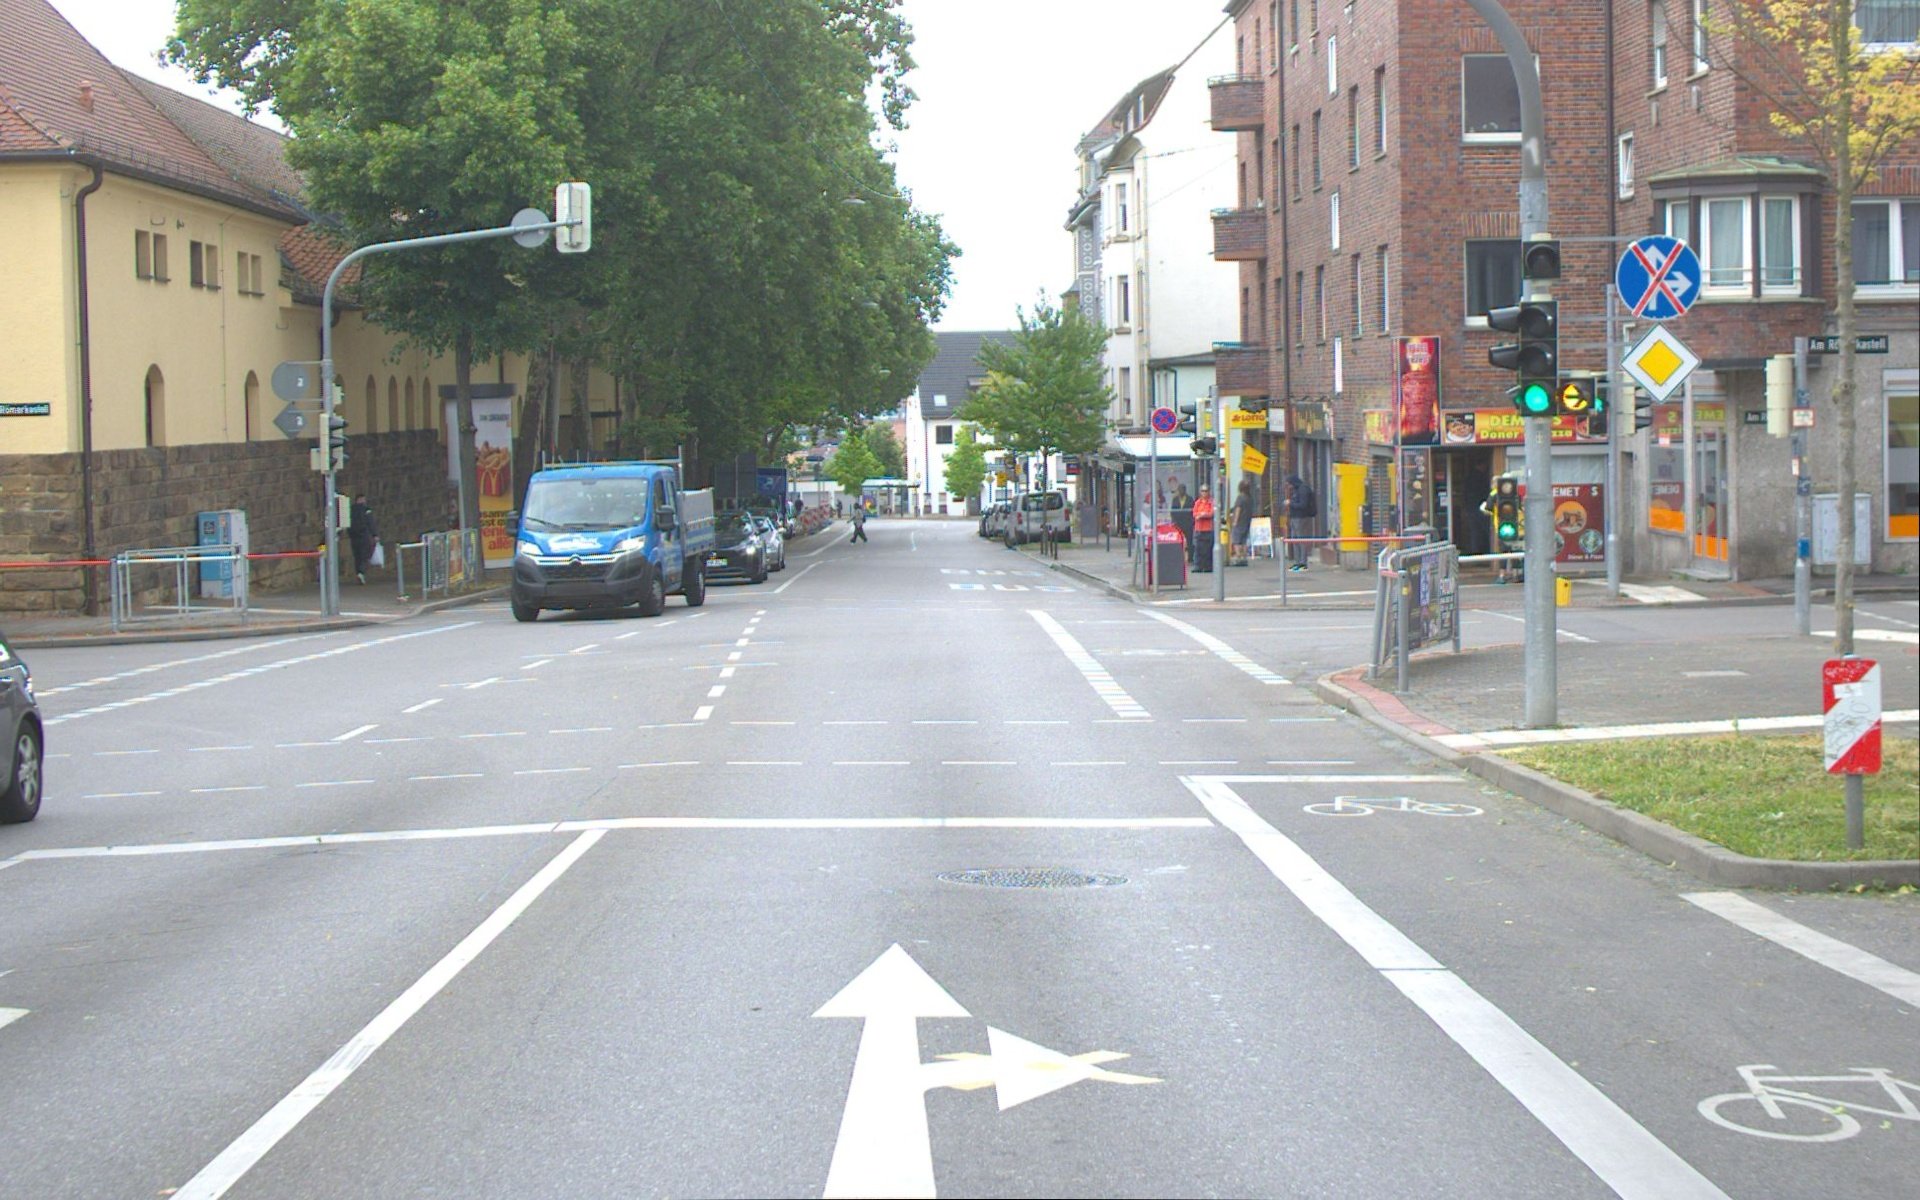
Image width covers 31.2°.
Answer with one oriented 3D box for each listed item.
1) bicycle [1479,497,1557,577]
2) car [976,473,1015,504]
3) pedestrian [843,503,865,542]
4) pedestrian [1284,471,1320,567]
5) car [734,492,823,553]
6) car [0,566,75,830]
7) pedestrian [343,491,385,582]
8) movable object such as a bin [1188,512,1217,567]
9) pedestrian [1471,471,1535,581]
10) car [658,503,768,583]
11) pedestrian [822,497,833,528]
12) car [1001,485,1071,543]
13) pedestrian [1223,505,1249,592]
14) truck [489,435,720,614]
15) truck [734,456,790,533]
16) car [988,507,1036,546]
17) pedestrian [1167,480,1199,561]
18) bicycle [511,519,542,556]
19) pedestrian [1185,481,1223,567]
[{"bbox_3d":[8.546,-0.978,52.742,0.760,1.189,2.392,-1,2,-1],"label":"bicycle"},{"bbox_3d":[1.778,-5.579,171.894,1.668,1.542,3.757,-1,2,-4],"label":"car"},{"bbox_3d":[-4.233,-3.095,136.932,0.672,1.531,0.611,-1,2,-26],"label":"pedestrian"},{"bbox_3d":[6.297,-1.489,63.303,0.647,1.744,0.778,0,2,5],"label":"pedestrian"},{"bbox_3d":[-4.136,-1.767,78.821,1.685,1.271,4.095,-3,1,1],"label":"car"},{"bbox_3d":[-6.368,0.619,19.030,1.756,1.467,4.307,-2,2,0],"label":"car"},{"bbox_3d":[-11.600,-1.232,66.942,0.674,1.759,0.725,-1,1,-1],"label":"pedestrian"},{"bbox_3d":[4.649,-1.158,65.890,0.453,1.053,0.410,0,1,19],"label":"movable object such as a bin"},{"bbox_3d":[8.373,-1.145,53.023,0.788,1.650,0.772,-3,2,0],"label":"pedestrian"},{"bbox_3d":[-4.721,-1.123,66.271,1.703,1.409,4.192,-2,2,1],"label":"car"},{"bbox_3d":[-8.374,-5.540,217.528,0.633,2.006,0.784,0,2,1],"label":"pedestrian"},{"bbox_3d":[2.600,-2.984,118.410,1.993,1.929,4.920,-1,2,-4],"label":"car"},{"bbox_3d":[5.622,-1.044,70.099,0.479,1.759,0.458,-1,1,-1],"label":"pedestrian"},{"bbox_3d":[-5.186,-1.150,51.156,2.295,2.419,6.411,-2,2,4],"label":"truck"},{"bbox_3d":[-8.873,-4.751,154.557,2.231,3.335,7.451,-1,2,-2],"label":"truck"},{"bbox_3d":[2.139,-3.035,141.887,1.668,1.542,3.757,-1,2,-4],"label":"car"},{"bbox_3d":[4.776,-1.695,73.622,0.670,1.721,0.763,0,2,5],"label":"pedestrian"},{"bbox_3d":[-13.112,-1.896,104.104,0.596,1.087,2.195,2,2,1],"label":"bicycle"},{"bbox_3d":[4.694,-1.464,66.084,0.565,1.631,0.680,0,2,19],"label":"pedestrian"}]
